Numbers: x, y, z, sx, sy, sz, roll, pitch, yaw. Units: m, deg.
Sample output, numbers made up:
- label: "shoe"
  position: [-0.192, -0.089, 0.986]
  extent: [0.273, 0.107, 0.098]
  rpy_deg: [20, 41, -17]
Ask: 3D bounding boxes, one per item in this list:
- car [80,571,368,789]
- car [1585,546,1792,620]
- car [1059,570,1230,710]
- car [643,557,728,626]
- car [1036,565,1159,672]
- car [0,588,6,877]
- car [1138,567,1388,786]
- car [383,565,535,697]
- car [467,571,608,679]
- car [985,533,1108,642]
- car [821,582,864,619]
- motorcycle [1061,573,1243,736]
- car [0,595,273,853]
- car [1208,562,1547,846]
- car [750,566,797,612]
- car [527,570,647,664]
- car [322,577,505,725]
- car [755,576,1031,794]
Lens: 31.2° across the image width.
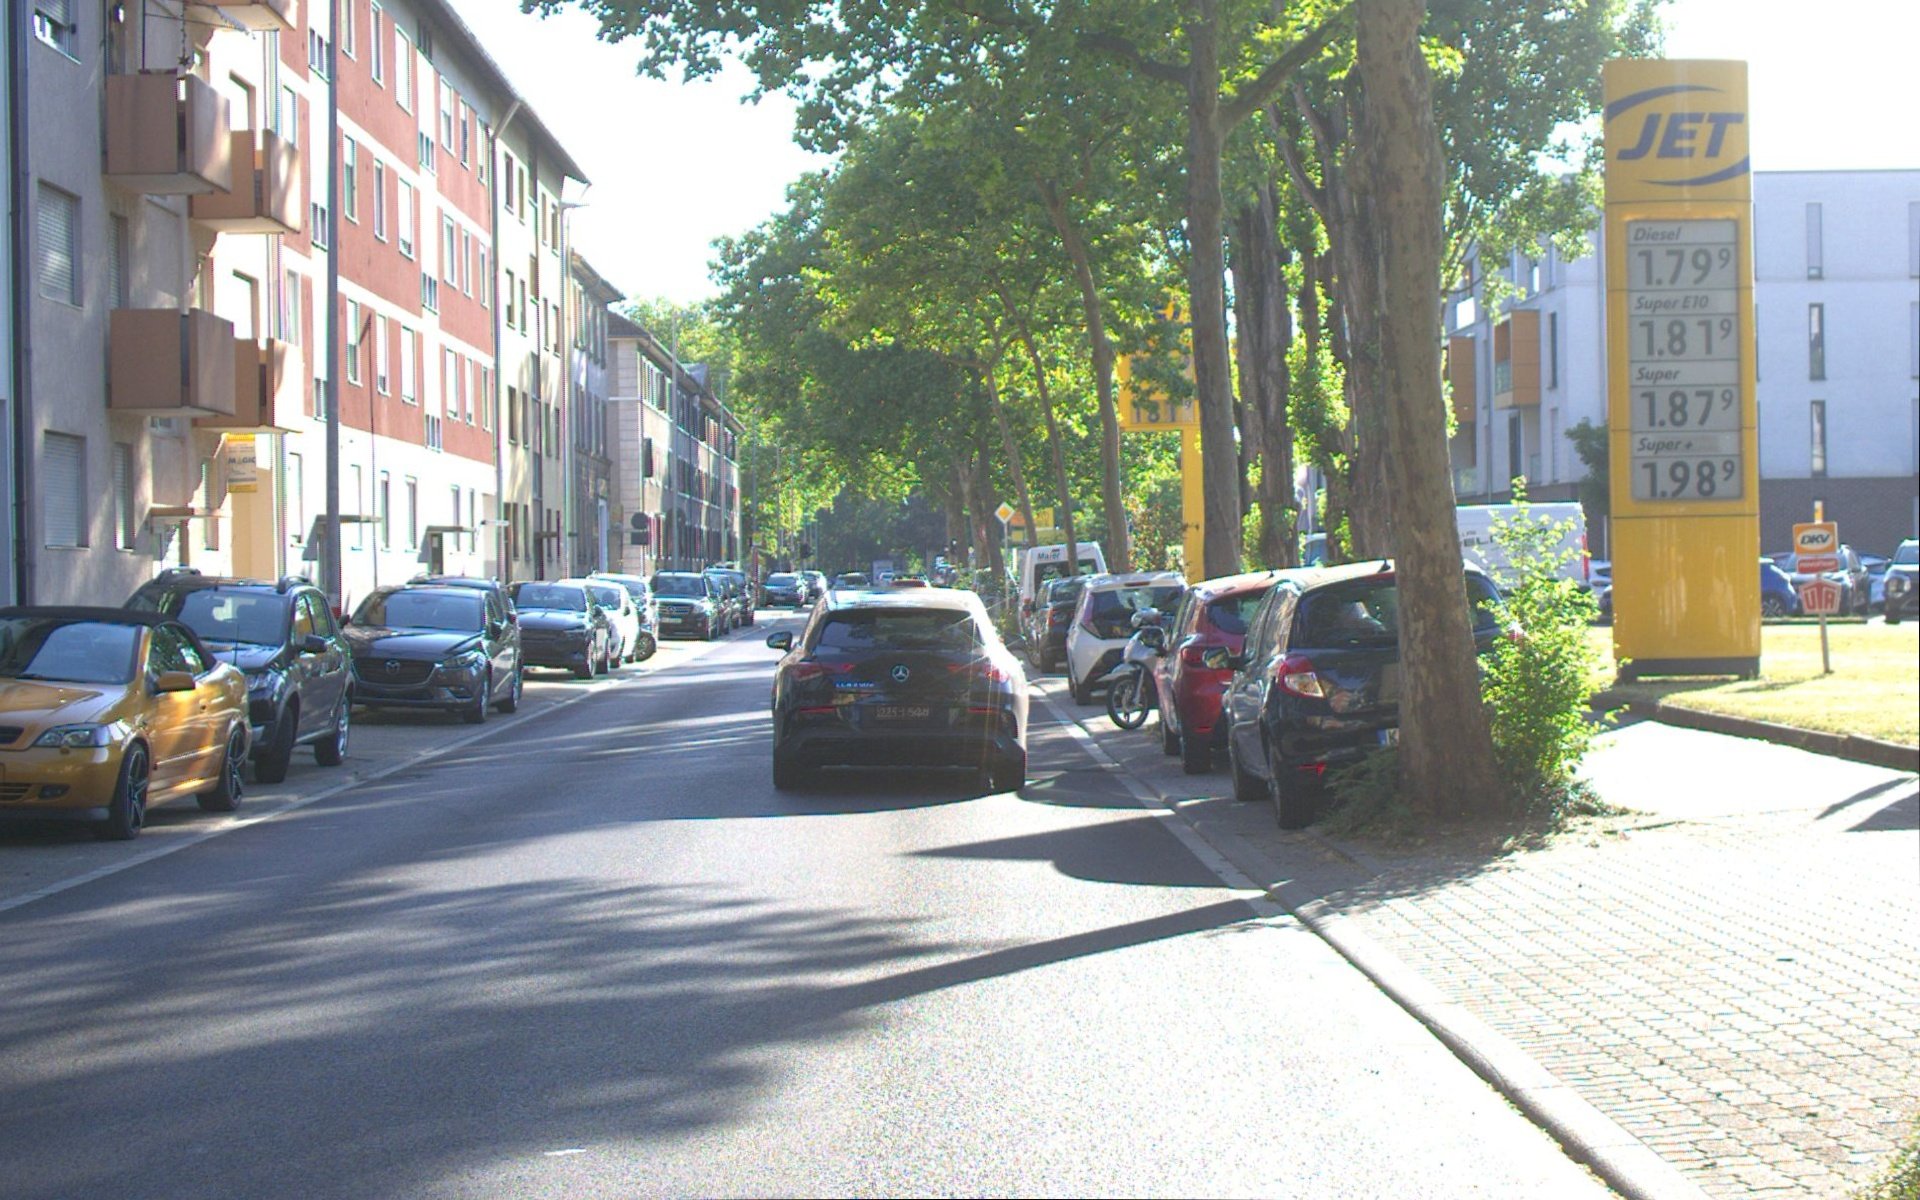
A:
- label: "car"
  position: [-5.950, 0.593, 28.170]
  extent: [1.596, 1.624, 3.838]
  rpy_deg: [1, 1, -1]
- label: "car"
  position: [15.519, -0.359, 73.365]
  extent: [3.986, 1.524, 1.807]
  rpy_deg: [0, -1, -2]
- label: "car"
  position: [2.129, 0.446, 40.507]
  extent: [1.722, 1.552, 3.601]
  rpy_deg: [1, 0, -1]
- label: "car"
  position: [-6.687, -0.217, 83.948]
  extent: [1.712, 1.557, 3.801]
  rpy_deg: [3, 1, 0]
- label: "car"
  position: [2.075, 0.269, 52.566]
  extent: [1.633, 1.552, 3.601]
  rpy_deg: [1, 0, -1]
- label: "car"
  position: [-5.775, 0.714, 16.137]
  extent: [1.547, 1.518, 4.005]
  rpy_deg: [1, 1, -1]
- label: "car"
  position: [2.325, 0.558, 27.107]
  extent: [1.559, 1.590, 3.601]
  rpy_deg: [1, 0, -1]
- label: "car"
  position: [-6.537, 0.375, 45.153]
  extent: [1.712, 1.557, 3.798]
  rpy_deg: [3, 1, -5]
- label: "car"
  position: [-6.622, 0.360, 54.202]
  extent: [1.712, 1.557, 3.801]
  rpy_deg: [3, 1, 0]
- label: "car"
  position: [1.625, -0.204, 65.663]
  extent: [1.993, 2.007, 4.000]
  rpy_deg: [0, -1, -4]
- label: "car"
  position: [-5.413, 0.016, 158.472]
  extent: [1.901, 1.655, 4.000]
  rpy_deg: [0, -1, -1]
- label: "motorcycle"
  position: [1.858, 0.524, 33.278]
  extent: [1.641, 1.552, 0.612]
  rpy_deg: [1, 0, -22]
- label: "car"
  position: [-5.637, 0.720, 22.119]
  extent: [1.596, 1.429, 4.217]
  rpy_deg: [1, 1, 0]
- label: "car"
  position: [2.497, 0.585, 21.285]
  extent: [1.559, 1.590, 3.601]
  rpy_deg: [1, 0, -1]
- label: "car"
  position: [-8.107, -0.450, 149.740]
  extent: [1.907, 1.941, 4.000]
  rpy_deg: [0, -1, -1]
- label: "car"
  position: [-6.748, 0.284, 62.538]
  extent: [1.712, 1.557, 3.801]
  rpy_deg: [3, 1, 0]
- label: "car"
  position: [-6.059, 0.530, 38.425]
  extent: [1.712, 1.459, 3.798]
  rpy_deg: [3, 1, -5]
- label: "car"
  position: [-0.415, 0.562, 25.328]
  extent: [1.744, 1.438, 3.968]
  rpy_deg: [1, 1, 3]
